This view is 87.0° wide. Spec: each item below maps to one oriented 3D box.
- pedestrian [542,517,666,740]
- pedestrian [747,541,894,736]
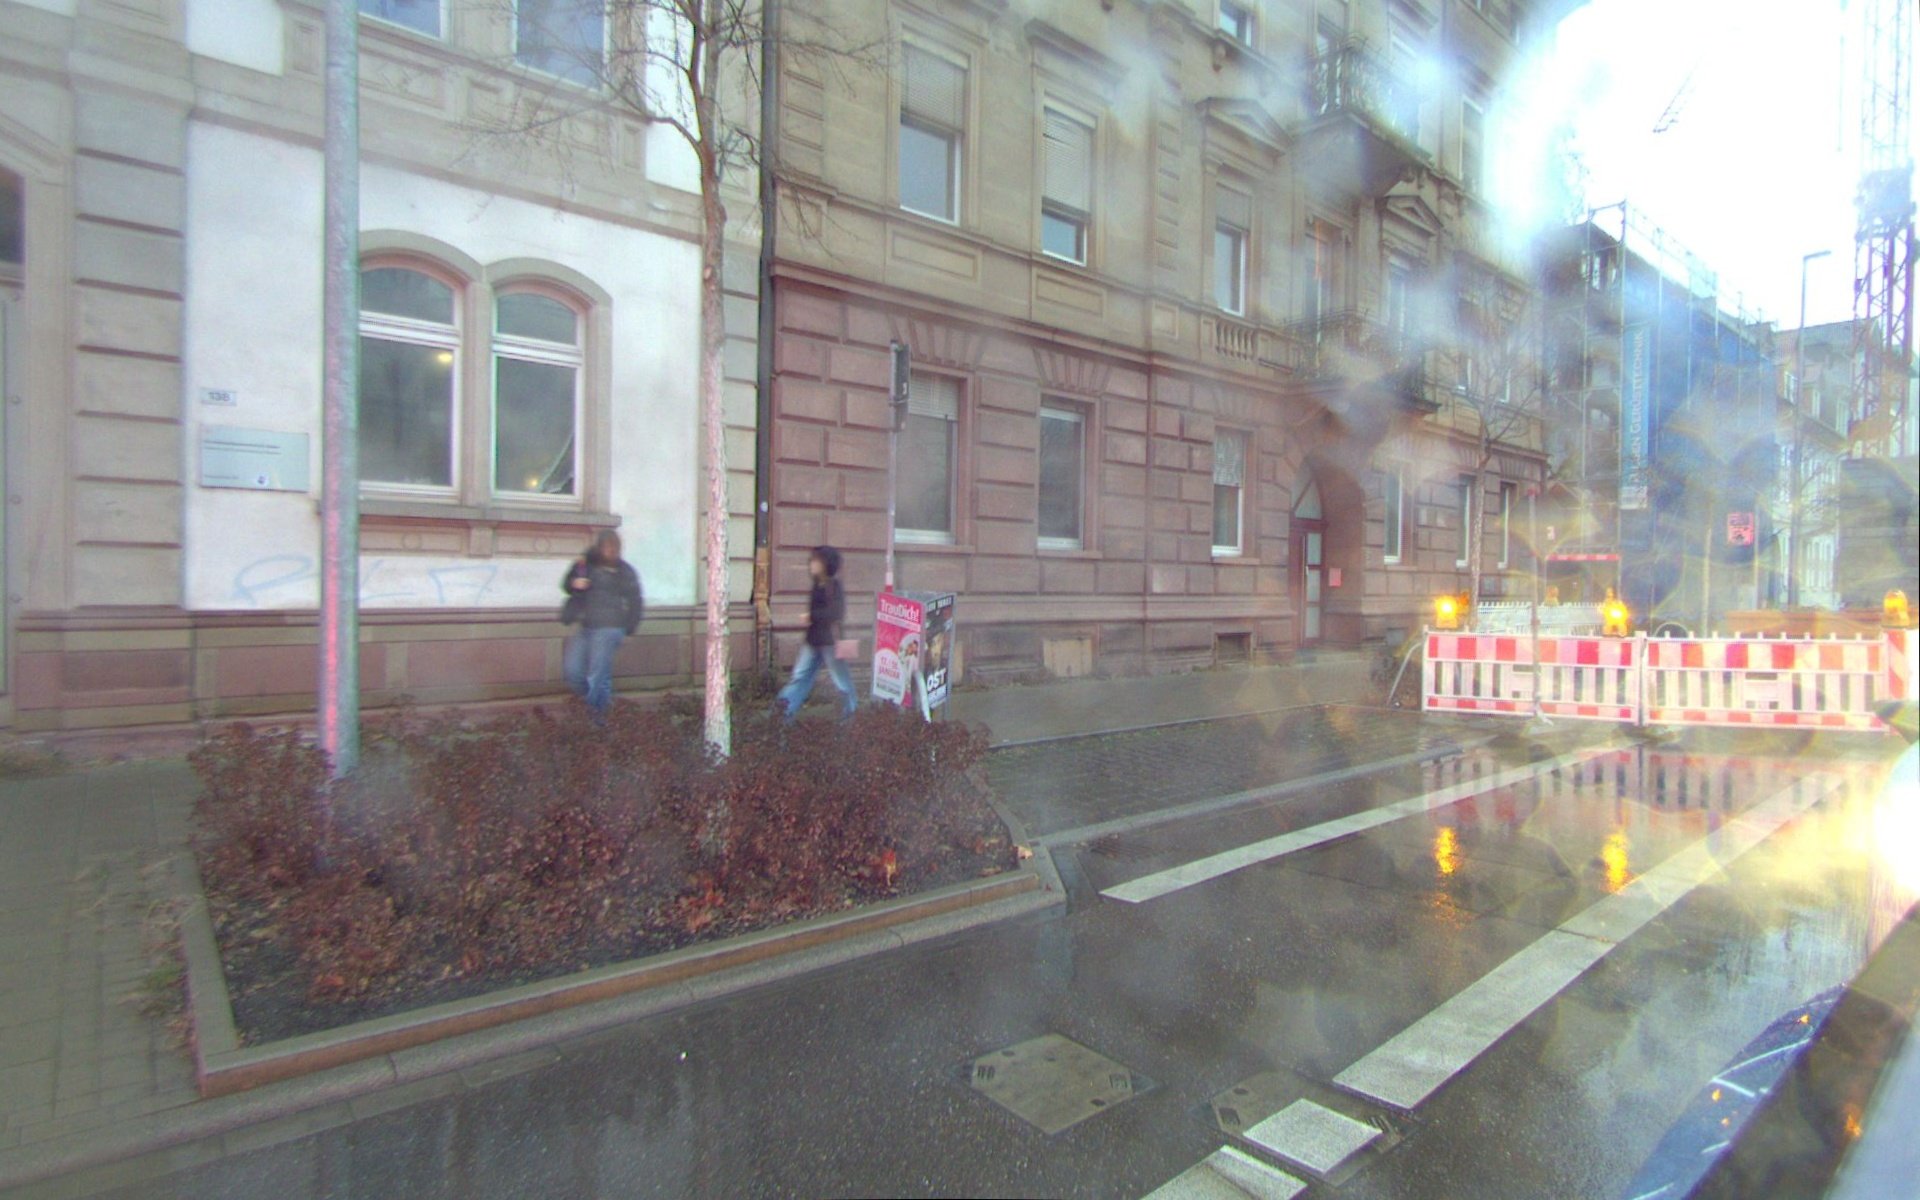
[{"bbox_3d":[-2.914,0.201,8.256,0.694,1.693,0.870,0,2,-38],"label":"pedestrian"},{"bbox_3d":[-1.208,0.291,8.716,0.913,1.564,0.870,0,2,-40],"label":"pedestrian"}]
